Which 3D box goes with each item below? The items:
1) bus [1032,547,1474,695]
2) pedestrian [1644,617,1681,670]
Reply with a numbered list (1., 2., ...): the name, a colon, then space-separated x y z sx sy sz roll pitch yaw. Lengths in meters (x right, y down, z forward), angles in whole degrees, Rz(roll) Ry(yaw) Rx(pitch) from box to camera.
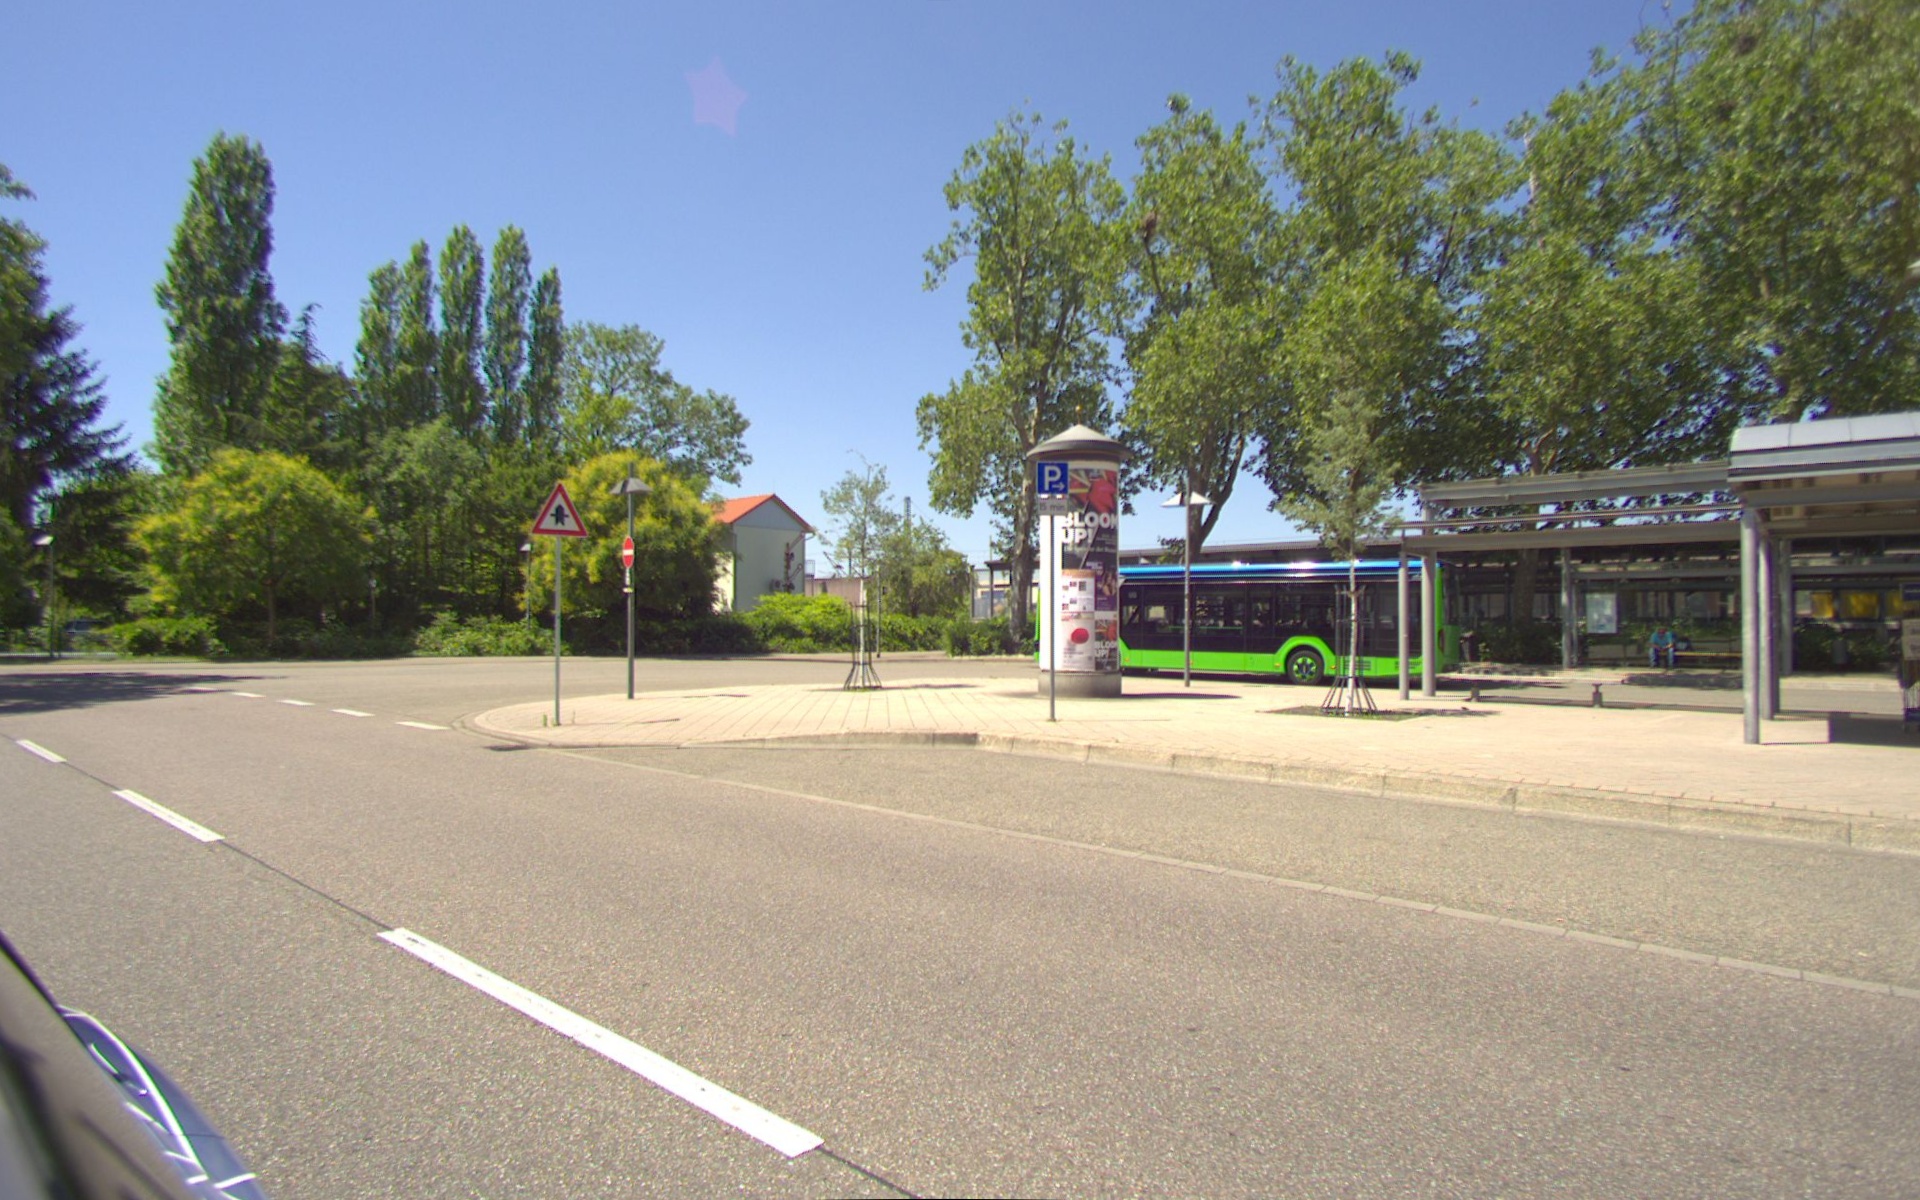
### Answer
1. bus: 7.756 0.610 28.943 12.202 3.553 2.142 -1 -1 37
2. pedestrian: 19.893 1.219 28.652 0.820 1.475 0.599 -1 -2 37
